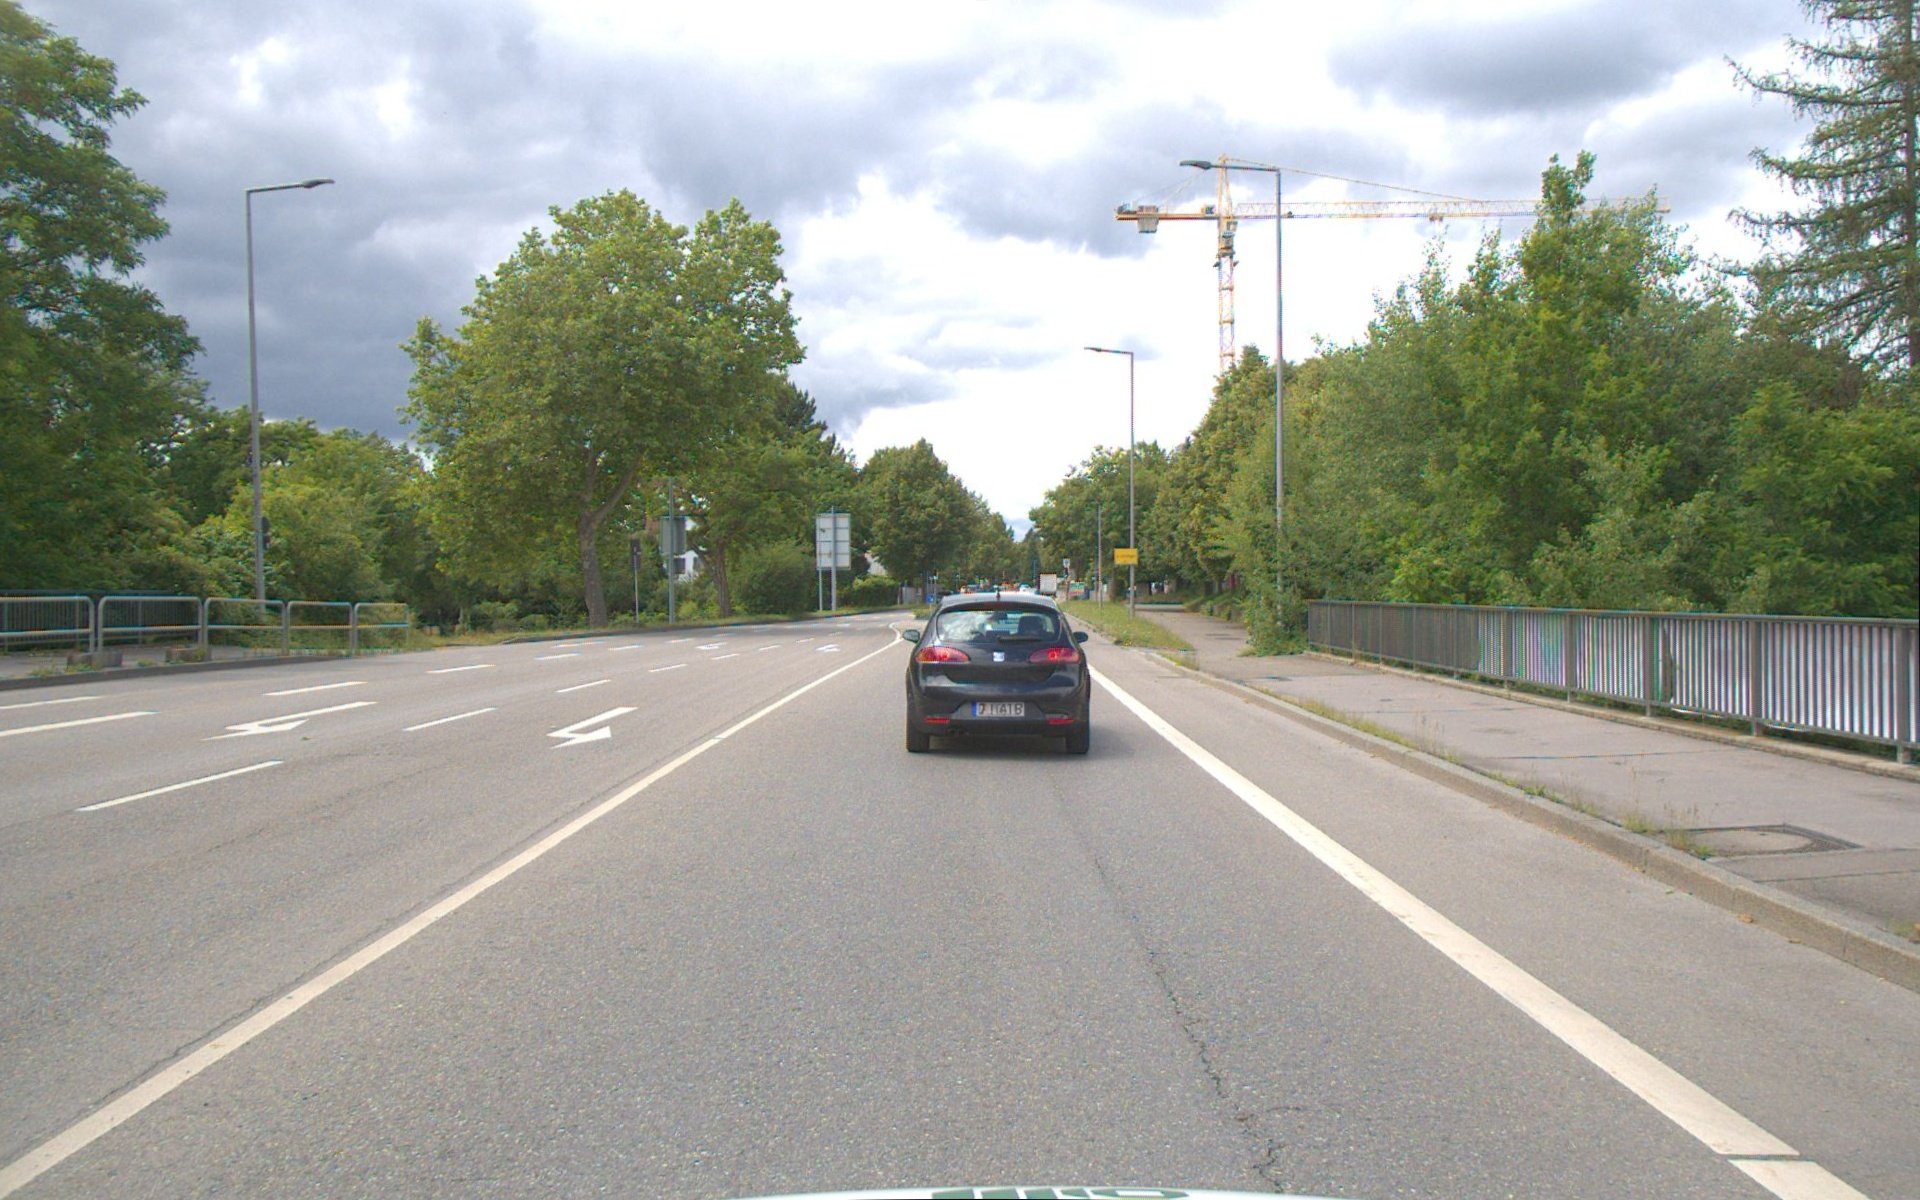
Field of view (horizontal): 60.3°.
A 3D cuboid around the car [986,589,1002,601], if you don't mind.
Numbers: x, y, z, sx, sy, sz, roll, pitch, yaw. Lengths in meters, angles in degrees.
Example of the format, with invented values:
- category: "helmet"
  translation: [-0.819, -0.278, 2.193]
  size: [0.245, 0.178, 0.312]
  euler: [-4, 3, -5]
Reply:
- category: "car"
  translation: [4.985, -0.755, 241.146]
  size: [2.056, 1.532, 5.787]
  euler: [-2, 0, 4]

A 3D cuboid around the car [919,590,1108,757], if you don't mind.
- category: "car"
  translation: [0.426, 0.636, 16.315]
  size: [1.629, 1.426, 3.811]
  euler: [1, 0, -1]

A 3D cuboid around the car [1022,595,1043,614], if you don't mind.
- category: "car"
  translation: [6.692, 0.402, 152.050]
  size: [1.842, 1.718, 4.216]
  euler: [-1, 0, 4]

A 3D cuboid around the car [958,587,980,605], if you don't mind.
- category: "car"
  translation: [0.993, -0.426, 183.974]
  size: [2.056, 1.929, 5.787]
  euler: [-2, 0, 4]

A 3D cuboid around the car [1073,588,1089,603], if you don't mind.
- category: "car"
  translation: [13.012, -0.472, 177.713]
  size: [1.652, 1.516, 3.356]
  euler: [-1, 0, 4]

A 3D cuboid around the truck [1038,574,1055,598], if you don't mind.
- category: "truck"
  translation: [11.890, -1.850, 226.396]
  size: [2.231, 3.158, 8.514]
  euler: [1, 0, 3]

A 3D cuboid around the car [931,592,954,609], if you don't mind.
- category: "car"
  translation: [-1.627, 0.041, 155.021]
  size: [1.682, 1.419, 4.803]
  euler: [-2, 0, 4]

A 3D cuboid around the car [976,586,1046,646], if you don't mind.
- category: "car"
  translation: [1.419, 0.403, 45.169]
  size: [1.807, 1.536, 3.813]
  euler: [1, 0, 3]
